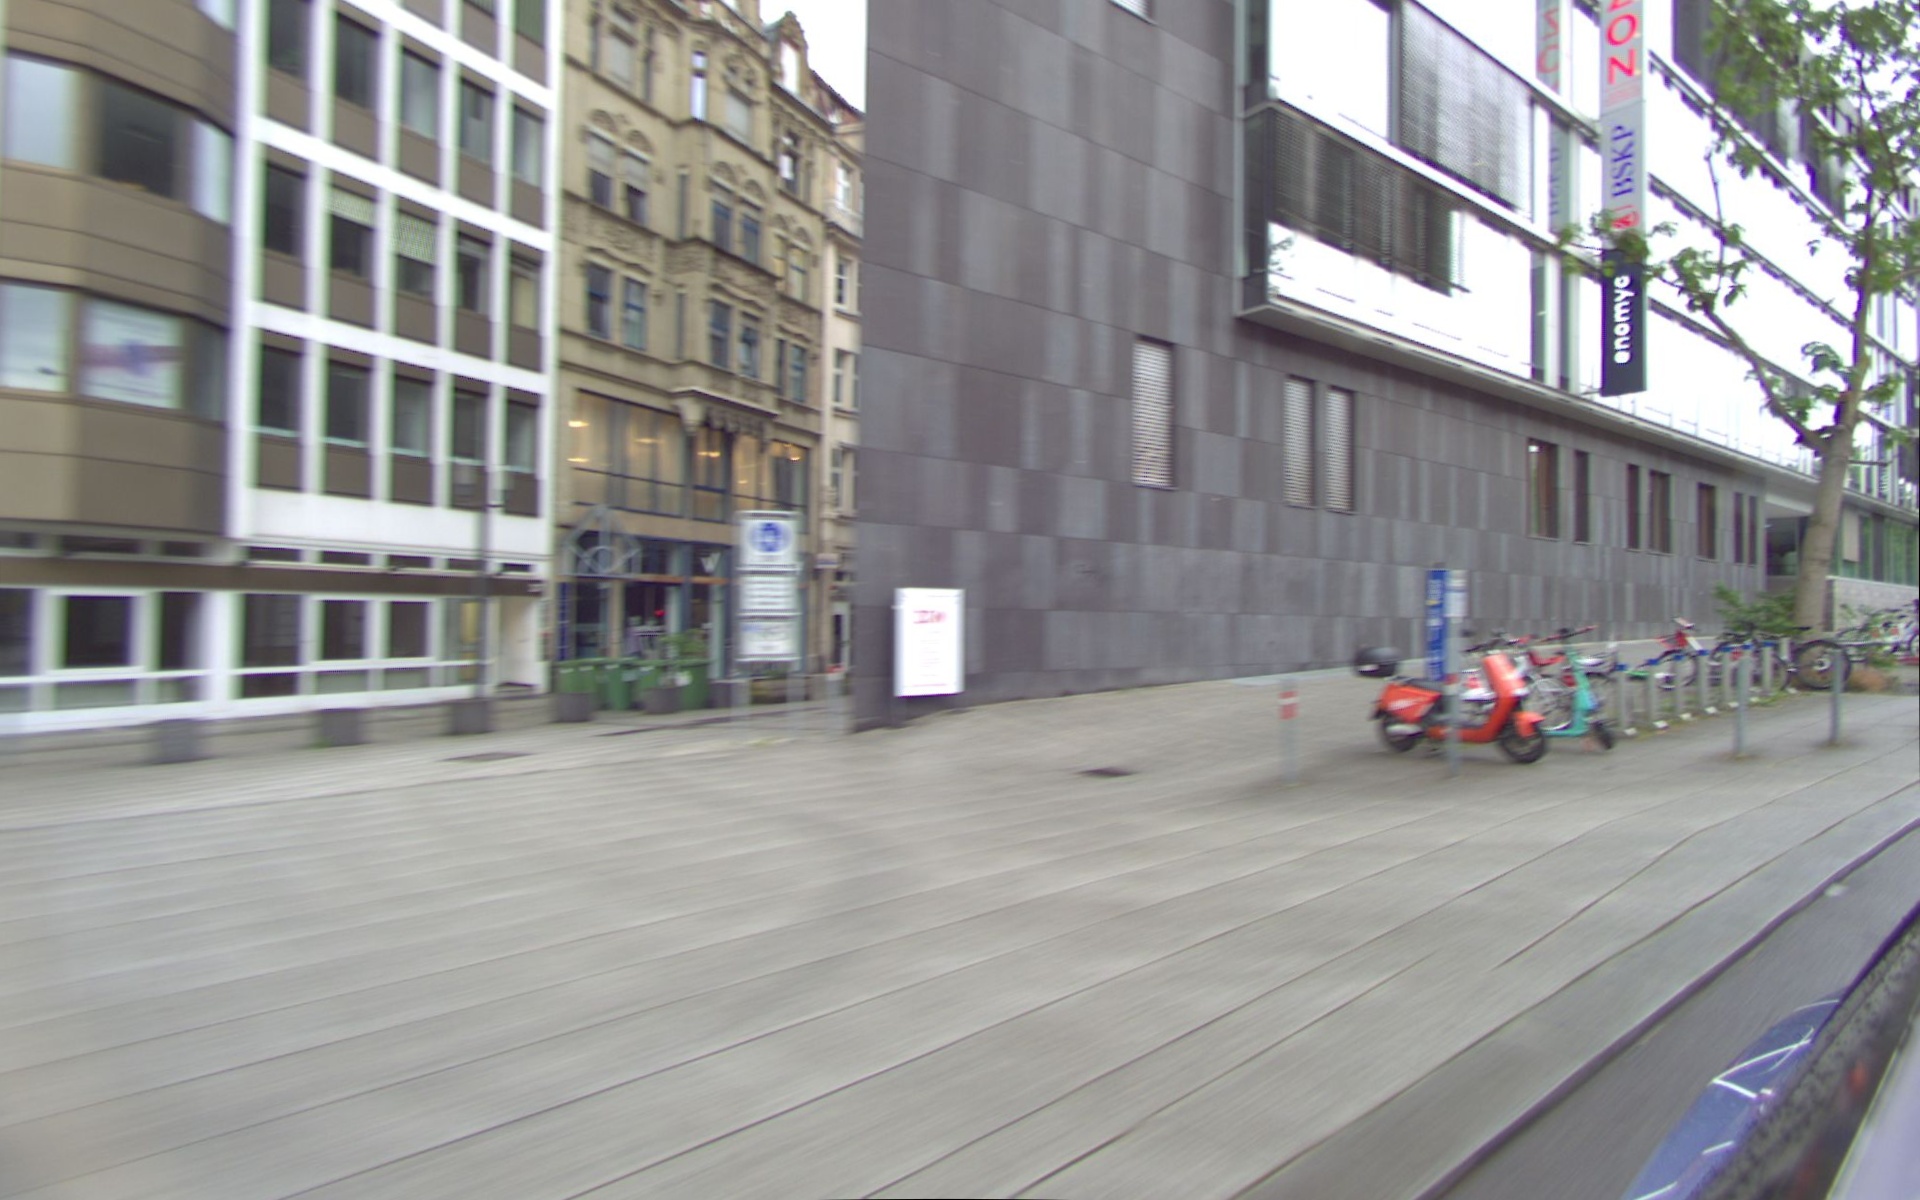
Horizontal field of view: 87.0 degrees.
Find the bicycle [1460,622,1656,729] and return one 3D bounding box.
[{"bbox_3d":[6.858,0.831,11.681,0.658,1.122,1.797,-1,-1,-41],"label":"bicycle"}]

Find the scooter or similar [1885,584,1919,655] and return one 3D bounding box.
[{"bbox_3d":[17.476,0.347,18.313,0.297,1.273,1.061,-1,1,-42],"label":"scooter or similar"}]

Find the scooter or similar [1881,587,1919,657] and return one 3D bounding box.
[{"bbox_3d":[17.707,0.398,18.604,0.297,1.273,1.107,-1,1,-42],"label":"scooter or similar"}]

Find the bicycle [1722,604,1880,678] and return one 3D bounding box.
[{"bbox_3d":[13.122,0.629,15.838,0.546,1.082,1.797,-1,-1,-40],"label":"bicycle"}]

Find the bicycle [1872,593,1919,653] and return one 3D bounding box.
[{"bbox_3d":[19.078,0.446,19.979,0.677,1.154,1.536,-2,1,-41],"label":"bicycle"}]

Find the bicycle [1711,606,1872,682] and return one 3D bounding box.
[{"bbox_3d":[12.666,0.656,15.468,0.546,1.082,1.797,-1,-1,-40],"label":"bicycle"}]

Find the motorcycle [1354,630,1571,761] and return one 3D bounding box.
[{"bbox_3d":[4.903,0.887,9.981,0.586,1.154,1.795,-1,-1,-40],"label":"motorcycle"}]

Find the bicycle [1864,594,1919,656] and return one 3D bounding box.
[{"bbox_3d":[18.483,0.472,19.482,0.651,1.154,1.536,-2,1,-41],"label":"bicycle"}]

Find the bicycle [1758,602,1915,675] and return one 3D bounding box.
[{"bbox_3d":[13.939,0.608,16.145,0.546,1.082,1.797,-1,-1,-40],"label":"bicycle"}]

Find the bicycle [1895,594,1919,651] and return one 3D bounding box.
[{"bbox_3d":[20.347,0.468,20.712,0.677,1.154,1.708,-2,1,-41],"label":"bicycle"}]

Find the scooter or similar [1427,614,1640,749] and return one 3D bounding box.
[{"bbox_3d":[5.885,0.794,10.477,0.586,1.259,1.795,-1,-1,-40],"label":"scooter or similar"}]

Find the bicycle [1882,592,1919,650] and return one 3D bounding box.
[{"bbox_3d":[19.676,0.422,20.414,0.677,1.154,1.536,-2,1,-41],"label":"bicycle"}]

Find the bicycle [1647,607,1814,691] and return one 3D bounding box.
[{"bbox_3d":[11.094,0.682,14.617,0.658,1.122,1.797,-1,-1,-41],"label":"bicycle"}]
